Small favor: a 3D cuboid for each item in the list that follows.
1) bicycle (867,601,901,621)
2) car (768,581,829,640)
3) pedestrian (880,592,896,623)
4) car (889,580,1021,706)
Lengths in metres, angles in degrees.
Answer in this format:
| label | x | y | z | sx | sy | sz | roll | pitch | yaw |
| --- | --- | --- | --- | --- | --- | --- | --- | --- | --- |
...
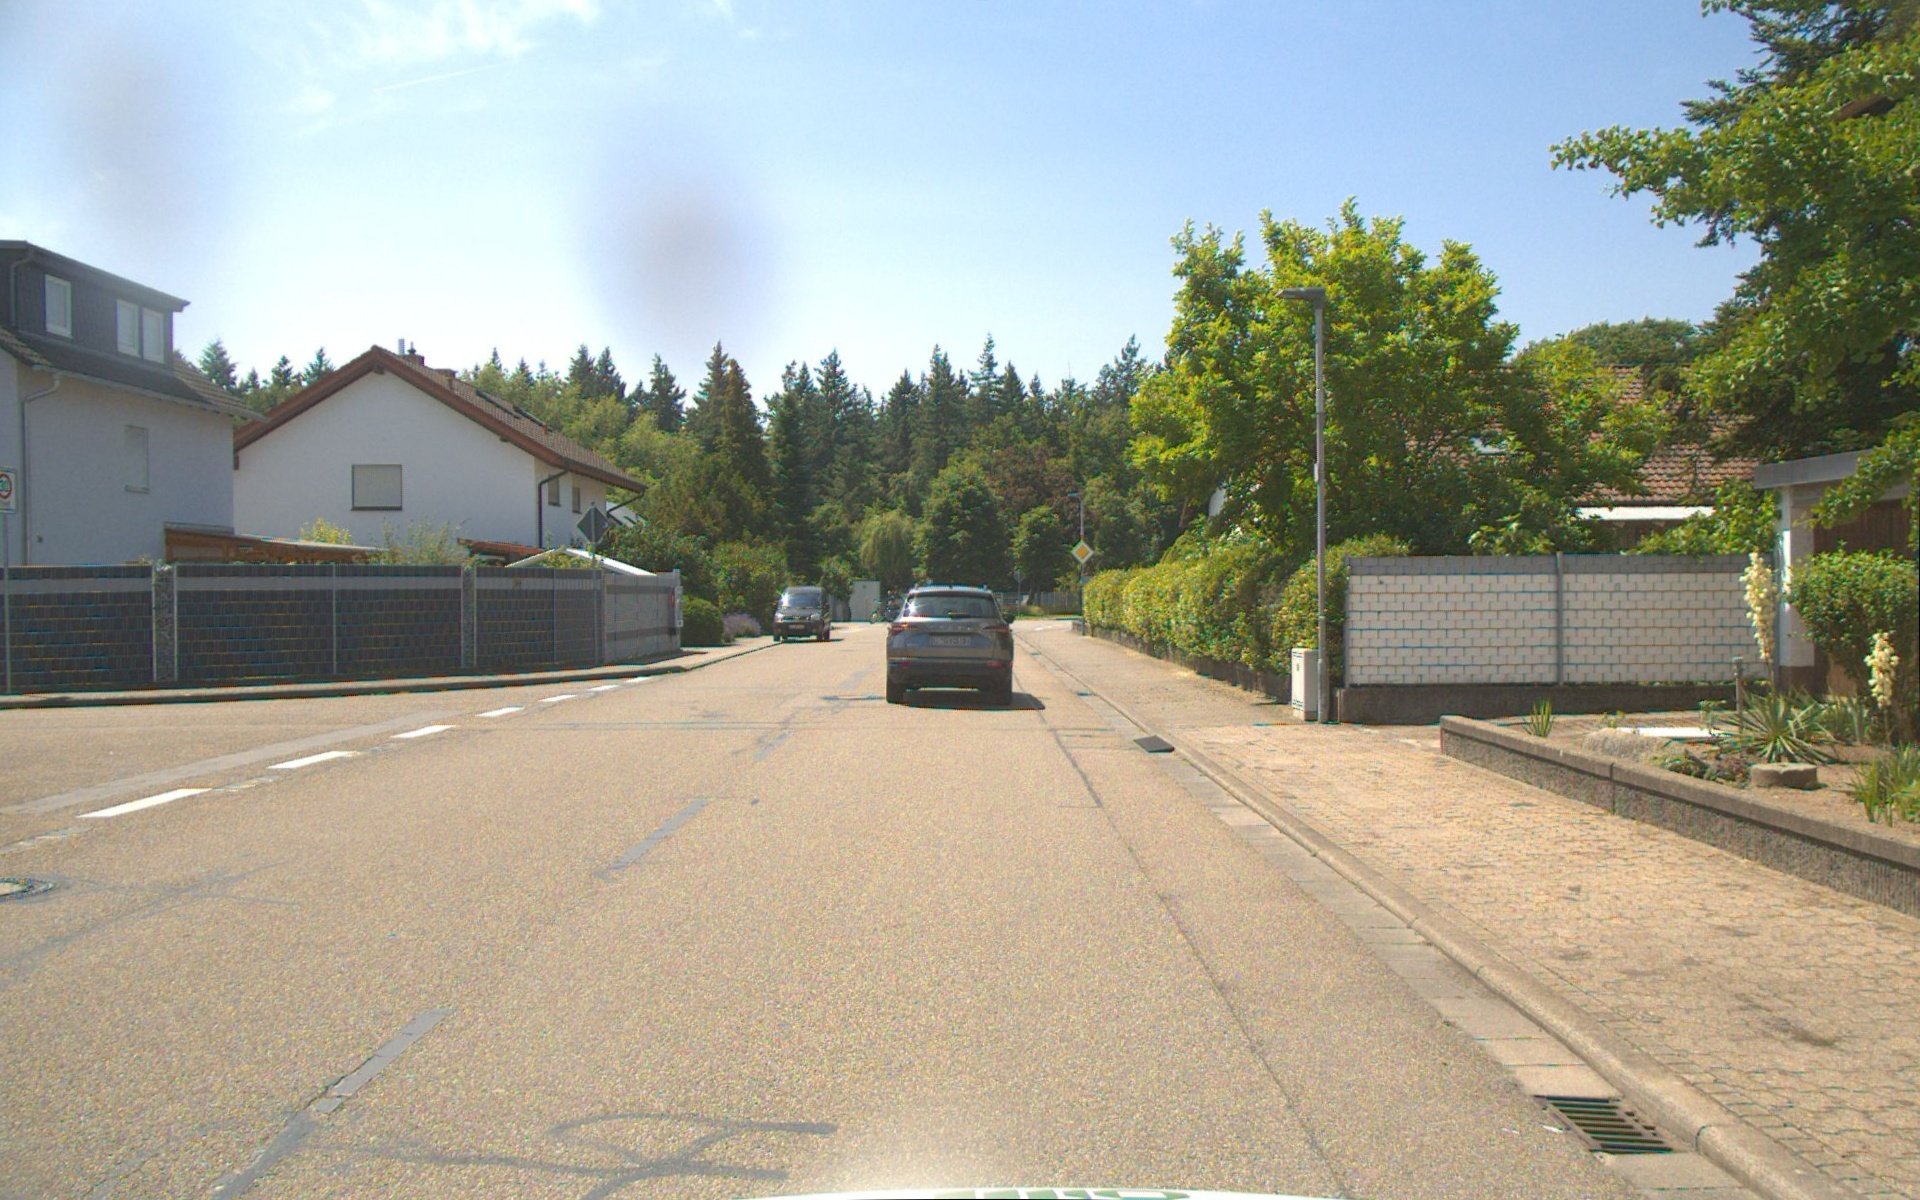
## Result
| label | x | y | z | sx | sy | sz | roll | pitch | yaw |
| --- | --- | --- | --- | --- | --- | --- | --- | --- | --- |
| bicycle | -3.833 | 0.564 | 83.196 | 1.832 | 0.980 | 0.437 | -1 | 0 | -41 |
| car | -5.357 | 0.339 | 55.253 | 1.683 | 1.878 | 4.053 | -1 | 0 | -1 |
| pedestrian | -3.600 | 0.361 | 82.751 | 0.606 | 1.527 | 0.497 | 0 | 0 | -39 |
| car | -0.097 | 0.559 | 23.928 | 1.726 | 1.646 | 3.999 | 1 | 0 | -1 |
